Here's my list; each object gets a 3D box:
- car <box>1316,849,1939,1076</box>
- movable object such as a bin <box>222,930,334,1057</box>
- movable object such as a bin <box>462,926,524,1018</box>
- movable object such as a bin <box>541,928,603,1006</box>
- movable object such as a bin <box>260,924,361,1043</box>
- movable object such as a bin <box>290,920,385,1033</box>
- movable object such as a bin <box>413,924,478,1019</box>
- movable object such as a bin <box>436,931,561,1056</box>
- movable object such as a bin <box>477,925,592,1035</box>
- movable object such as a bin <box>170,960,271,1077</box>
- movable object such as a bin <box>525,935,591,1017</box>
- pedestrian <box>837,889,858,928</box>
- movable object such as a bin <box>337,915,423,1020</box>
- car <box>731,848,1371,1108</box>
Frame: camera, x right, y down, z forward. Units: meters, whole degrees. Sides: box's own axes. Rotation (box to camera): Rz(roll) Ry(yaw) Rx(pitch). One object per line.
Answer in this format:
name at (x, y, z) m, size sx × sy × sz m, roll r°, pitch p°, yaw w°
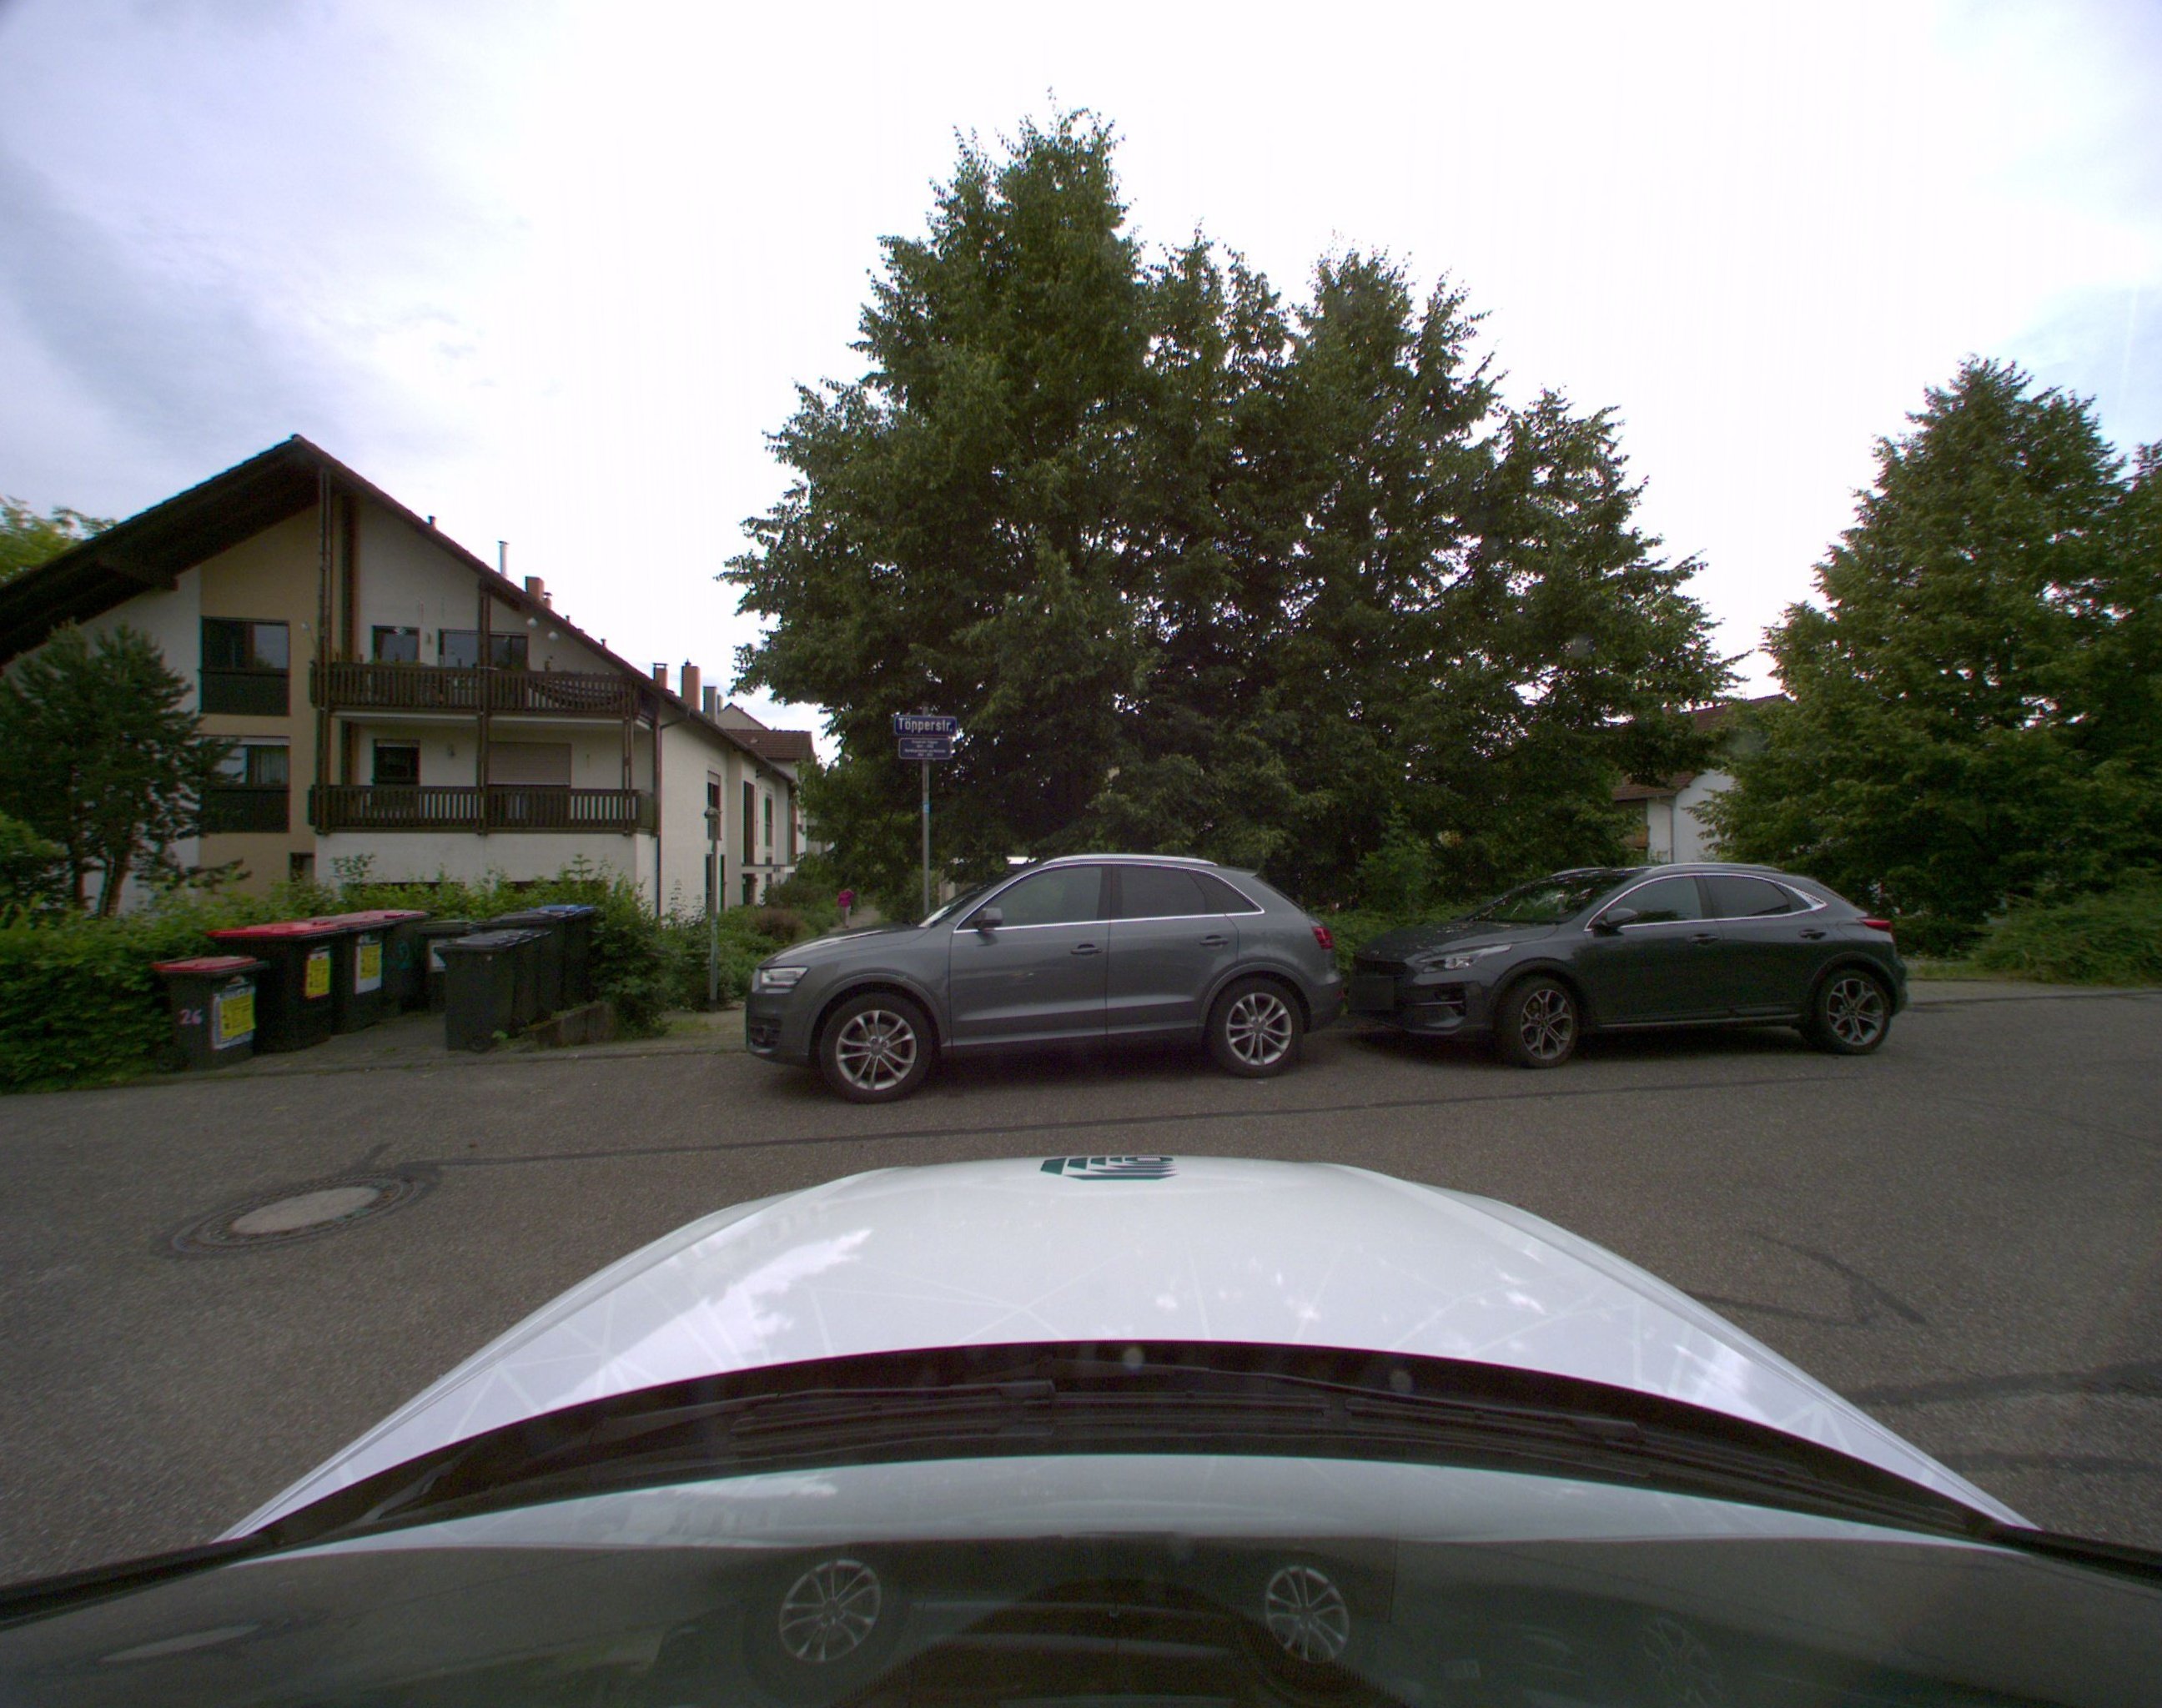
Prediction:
car at (4.304, 0.777, 6.758) m, size 4.178 × 1.531 × 1.742 m, roll 0°, pitch -2°, yaw -8°
movable object such as a bin at (-6.781, 1.163, 6.894) m, size 0.538 × 0.994 × 0.377 m, roll 1°, pitch -1°, yaw -15°
movable object such as a bin at (-6.086, 1.213, 8.442) m, size 0.386 × 0.890 × 0.377 m, roll 1°, pitch -1°, yaw -15°
movable object such as a bin at (-5.556, 1.226, 8.910) m, size 0.459 × 0.797 × 0.377 m, roll 1°, pitch -1°, yaw -13°
movable object such as a bin at (-6.855, 1.134, 7.260) m, size 0.538 × 0.994 × 0.336 m, roll 1°, pitch -1°, yaw -15°
movable object such as a bin at (-6.935, 1.129, 7.611) m, size 0.538 × 0.994 × 0.336 m, roll 1°, pitch -1°, yaw -15°
movable object such as a bin at (-6.482, 1.187, 8.321) m, size 0.386 × 0.901 × 0.377 m, roll 1°, pitch -1°, yaw -15°
movable object such as a bin at (-5.049, 1.186, 7.104) m, size 0.639 × 0.953 × 0.720 m, roll 1°, pitch -1°, yaw -13°
movable object such as a bin at (-5.203, 1.184, 7.797) m, size 0.734 × 0.953 × 0.582 m, roll 1°, pitch -1°, yaw -13°
movable object such as a bin at (-6.797, 1.285, 6.445) m, size 0.386 × 0.836 × 0.377 m, roll 1°, pitch -1°, yaw -15°
movable object such as a bin at (-5.445, 1.261, 8.493) m, size 0.459 × 0.797 × 0.378 m, roll 1°, pitch -1°, yaw -13°
pedestrian at (-9.404, 2.183, 32.807) m, size 0.816 × 1.517 × 0.436 m, roll -1°, pitch -1°, yaw -15°
movable object such as a bin at (-7.011, 1.118, 8.161) m, size 0.538 × 0.994 × 0.336 m, roll 1°, pitch -1°, yaw -15°
car at (-0.195, 0.768, 6.182) m, size 4.241 × 1.531 × 1.739 m, roll 0°, pitch -2°, yaw -13°
